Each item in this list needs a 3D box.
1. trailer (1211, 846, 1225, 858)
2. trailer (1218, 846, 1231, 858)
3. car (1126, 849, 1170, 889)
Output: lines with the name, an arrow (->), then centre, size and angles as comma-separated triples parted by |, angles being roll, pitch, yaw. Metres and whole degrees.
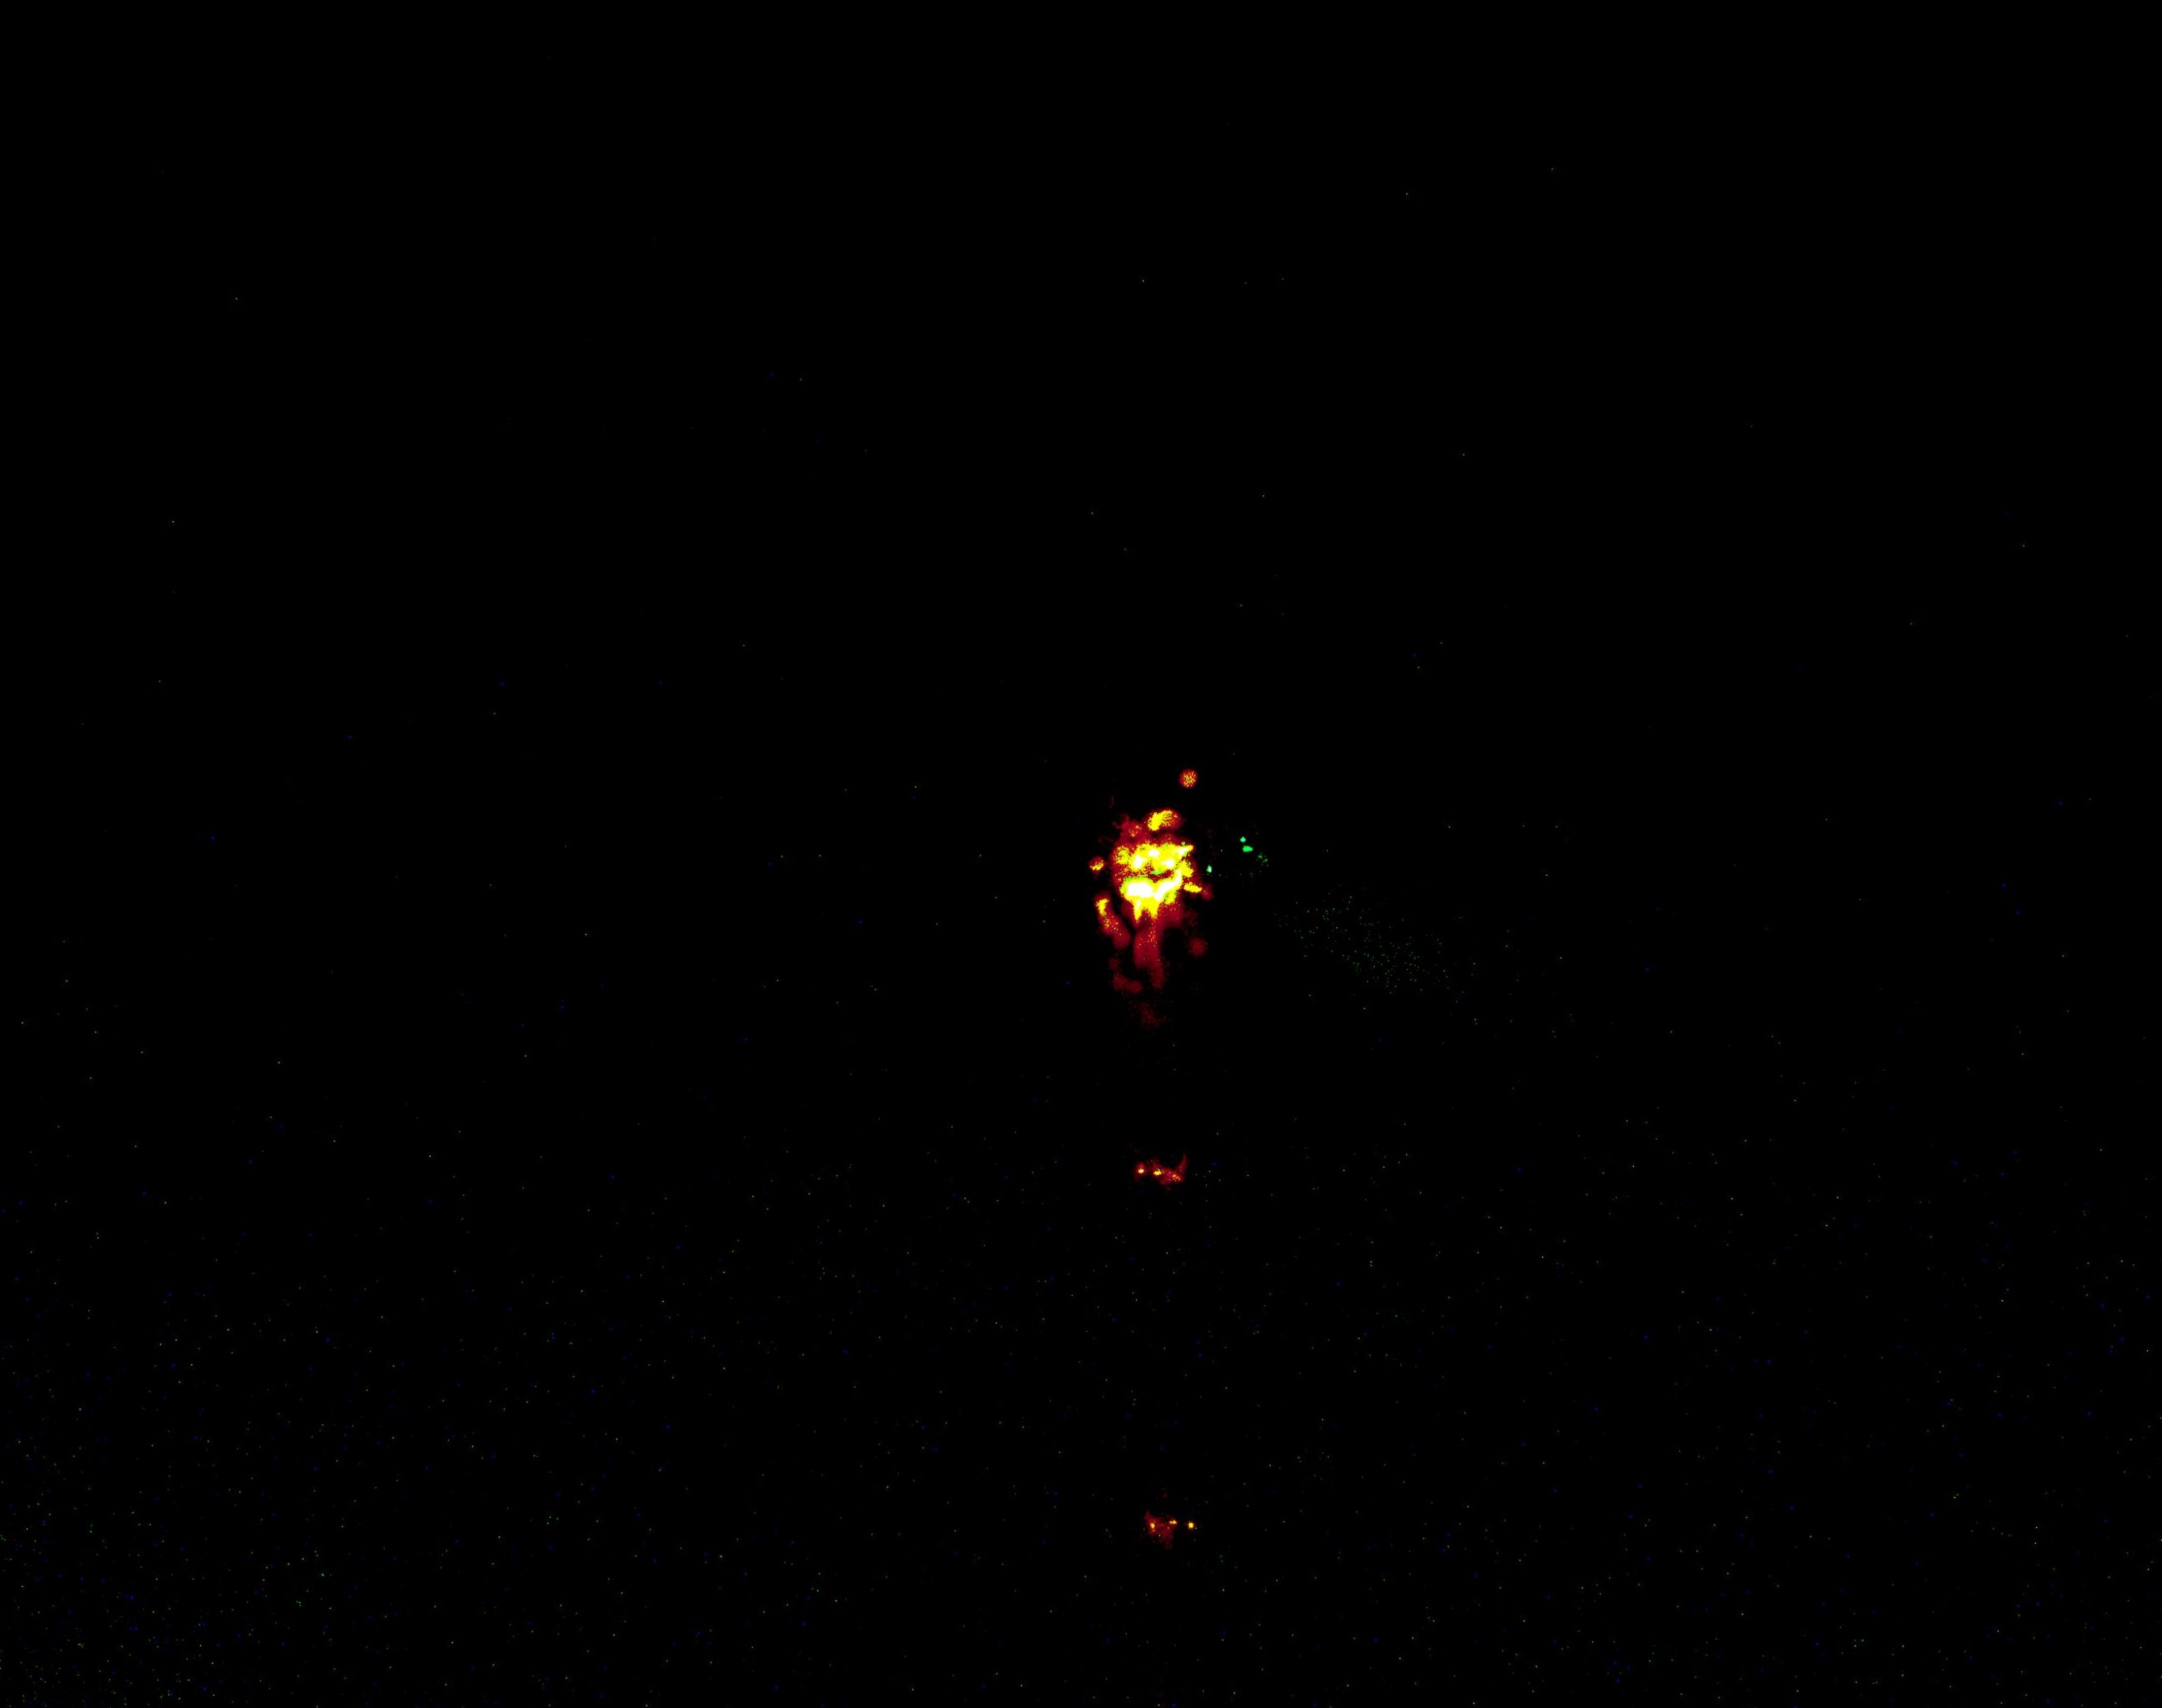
trailer -> 27.023, -0.388, 160.569 | 1.626, 2.364, 4.647 | 0, 0, -3
trailer -> 27.474, -0.392, 155.633 | 1.601, 2.352, 4.428 | 0, 0, -2
car -> 3.011, 0.616, 36.045 | 1.792, 1.628, 3.621 | -2, 0, 6
